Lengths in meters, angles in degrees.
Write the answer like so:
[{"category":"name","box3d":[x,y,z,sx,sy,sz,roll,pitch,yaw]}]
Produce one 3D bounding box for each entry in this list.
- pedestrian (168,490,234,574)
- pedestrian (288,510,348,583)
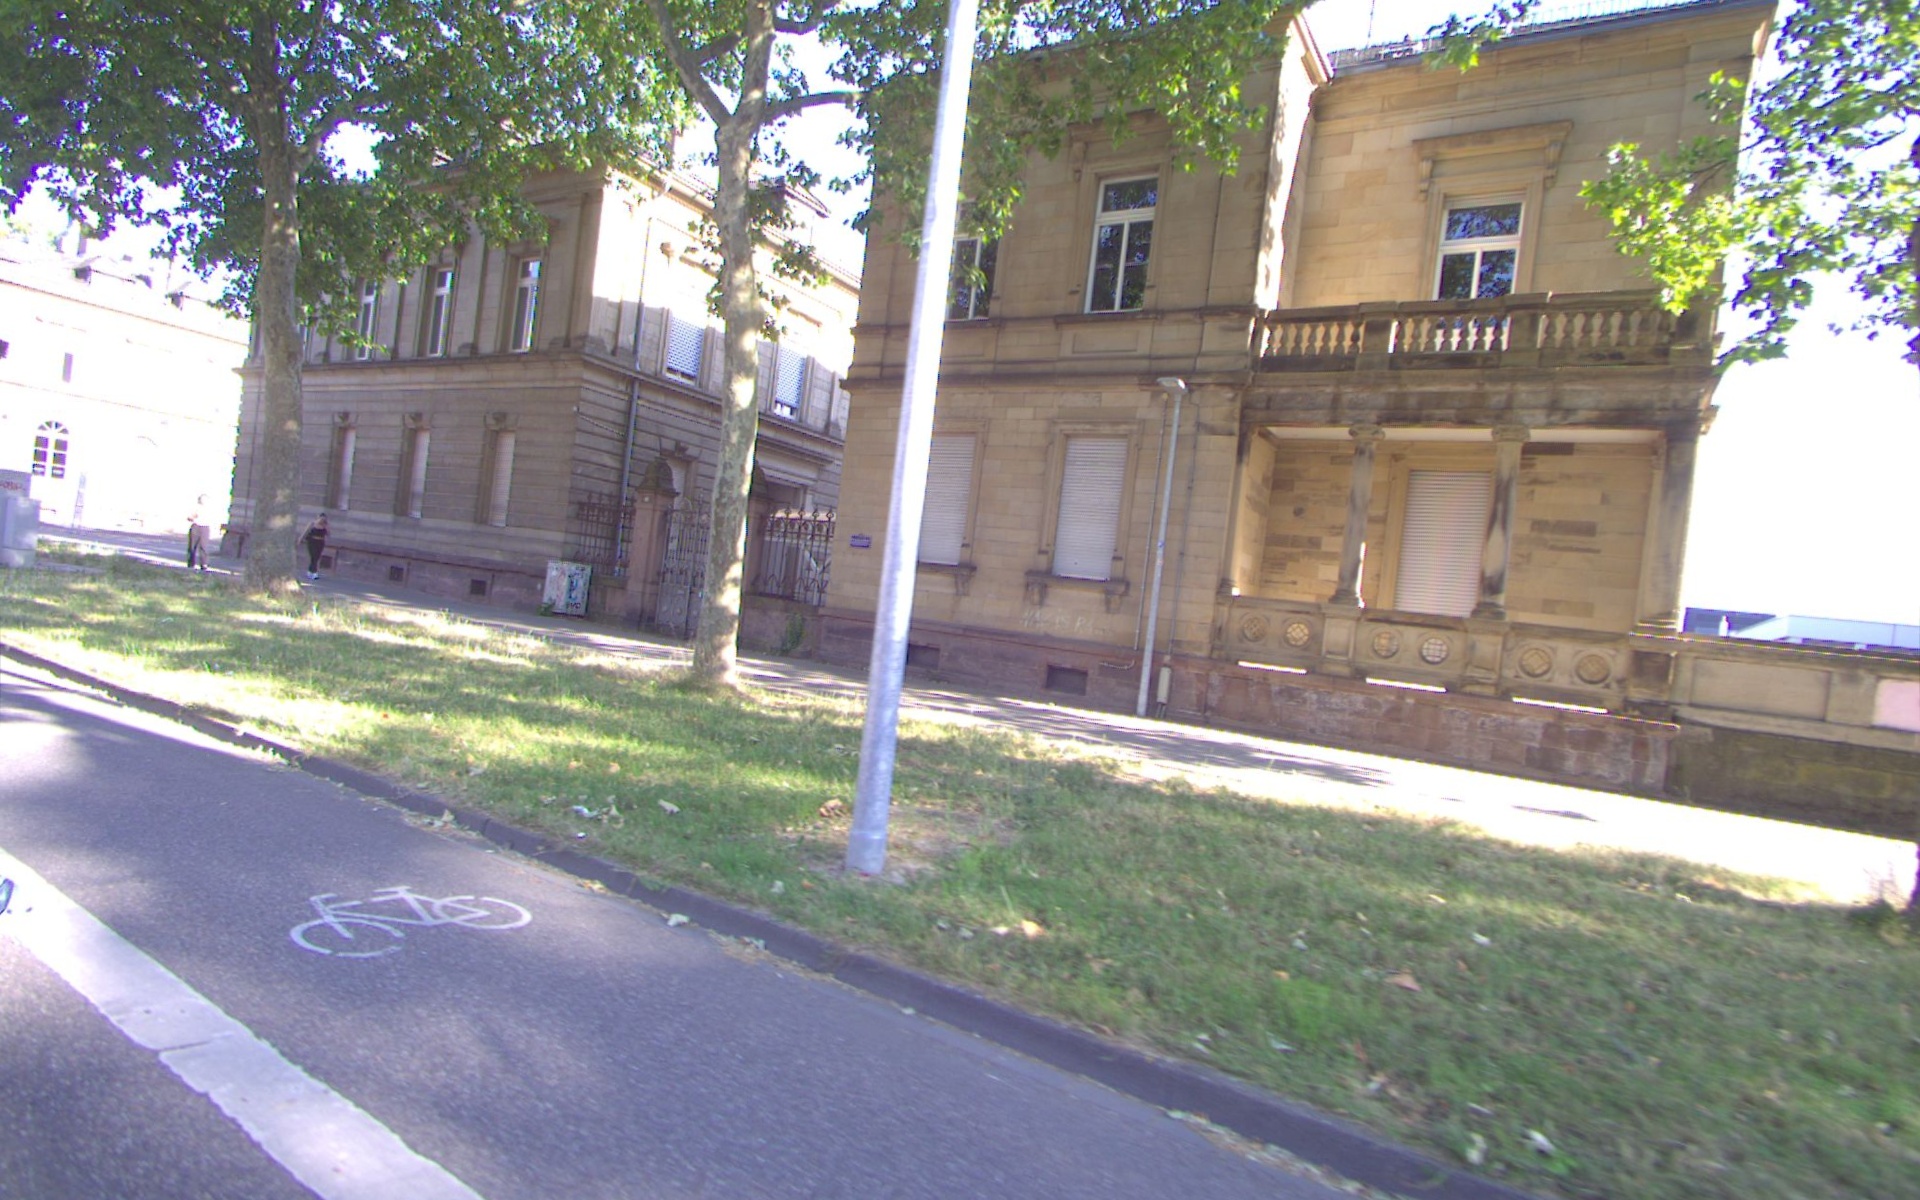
[{"category":"pedestrian","box3d":[-16.980,-1.518,22.509,1.025,1.731,0.770,7,1,34]},{"category":"pedestrian","box3d":[-15.523,-1.286,24.316,0.970,1.626,0.770,7,1,34]}]
